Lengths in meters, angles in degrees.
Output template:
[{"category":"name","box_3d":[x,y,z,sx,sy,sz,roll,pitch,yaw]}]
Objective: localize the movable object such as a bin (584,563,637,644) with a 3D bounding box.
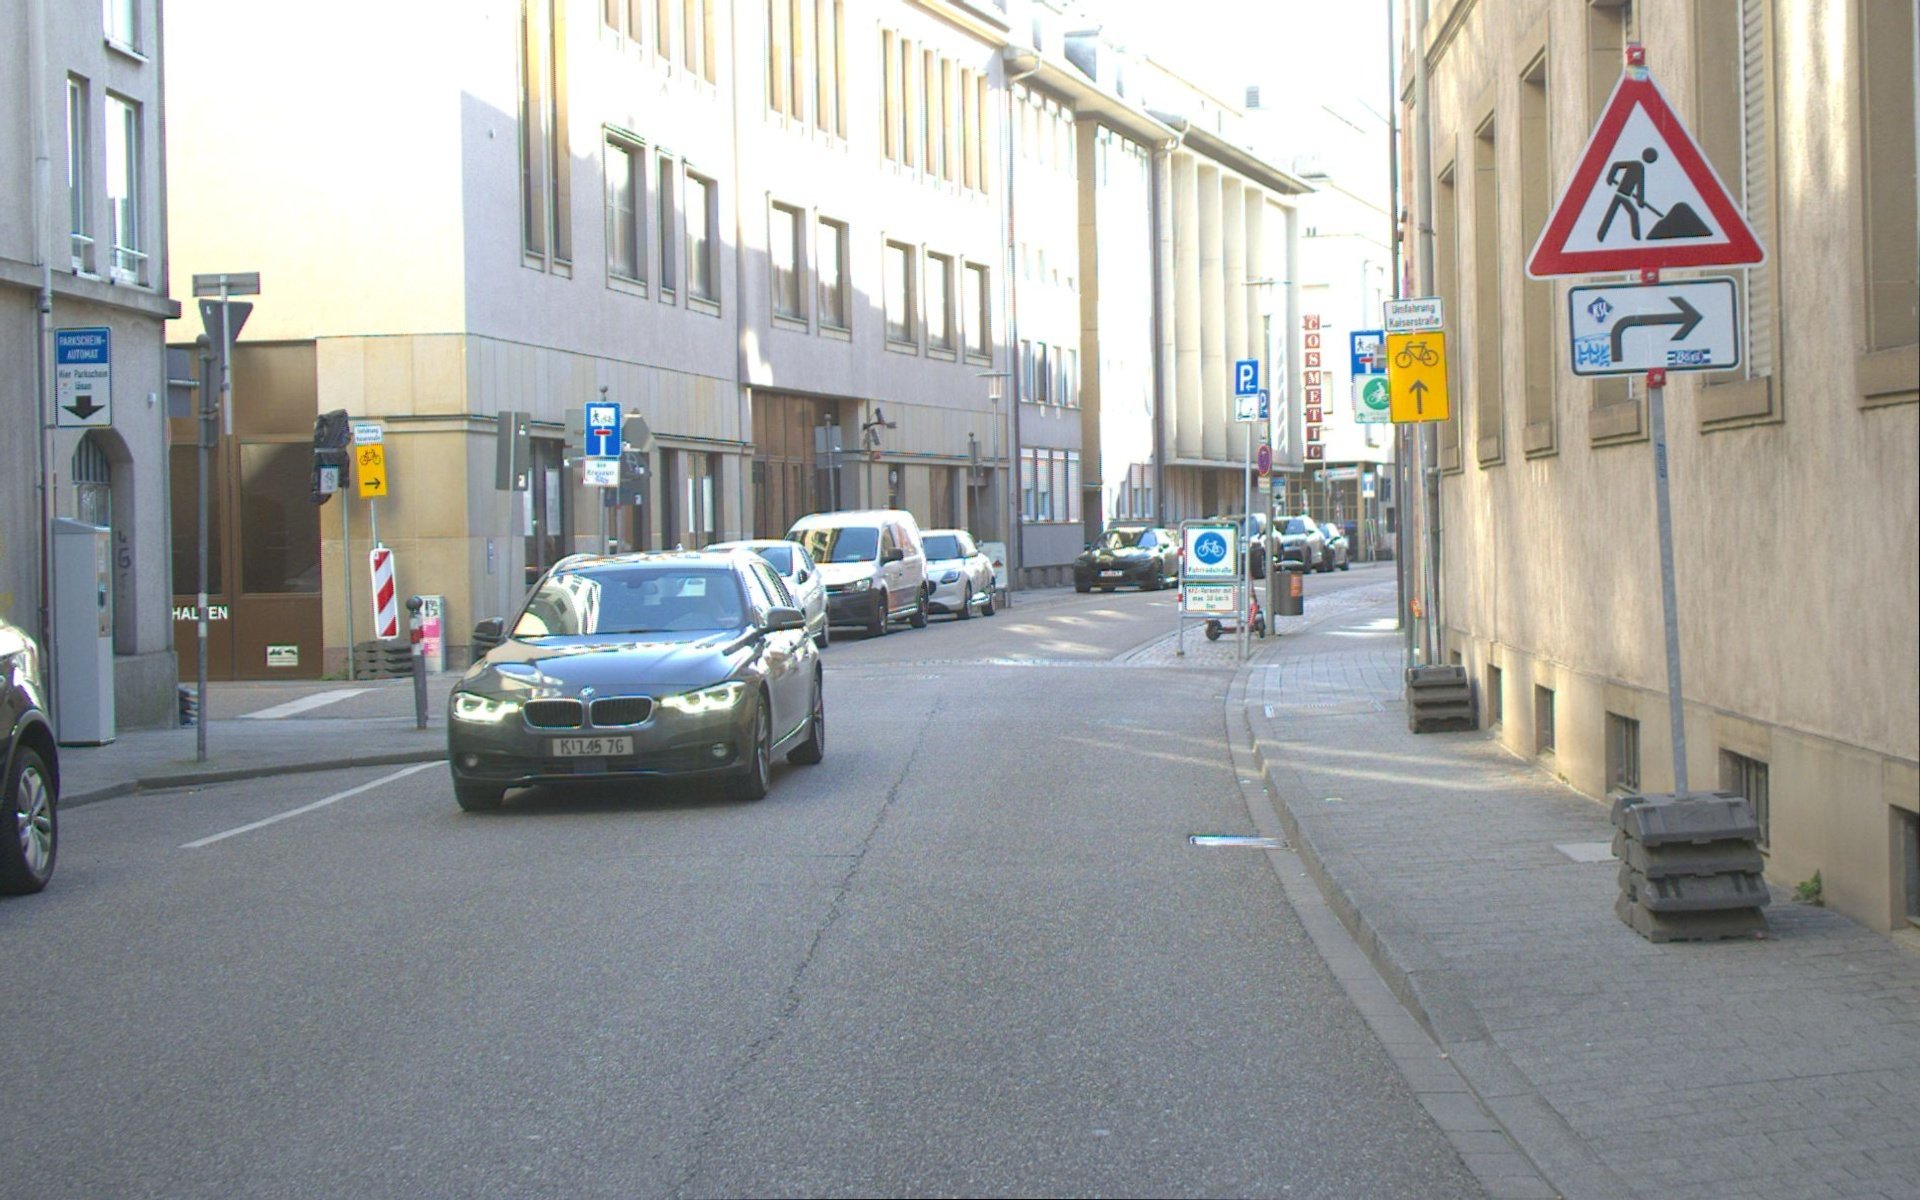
[{"category":"movable object such as a bin","box_3d":[-4.670,0.037,45.953,0.608,1.057,0.713,1,1,1]}]

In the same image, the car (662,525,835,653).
[{"category":"car","box_3d":[-2.700,-0.174,44.645,1.670,1.501,3.793,-3,1,4]}]

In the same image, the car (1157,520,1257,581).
[{"category":"car","box_3d":[5.980,-1.206,82.823,1.725,1.336,3.998,-1,1,14]}]

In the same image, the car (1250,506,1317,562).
[{"category":"car","box_3d":[9.041,-1.852,95.946,1.339,1.489,3.508,-1,1,14]}]

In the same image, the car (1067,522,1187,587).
[{"category":"car","box_3d":[3.757,-1.028,76.668,1.882,1.327,4.098,-1,1,14]}]

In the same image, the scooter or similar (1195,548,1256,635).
[{"category":"scooter or similar","box_3d":[3.517,-0.121,45.579,0.771,1.132,0.269,1,1,7]}]

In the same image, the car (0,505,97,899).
[{"category":"car","box_3d":[-5.093,0.516,14.173,1.740,1.705,4.190,-4,1,3]}]

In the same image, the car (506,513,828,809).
[{"category":"car","box_3d":[-1.826,0.291,20.877,1.714,1.572,4.191,-1,1,-6]}]

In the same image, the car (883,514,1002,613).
[{"category":"car","box_3d":[-0.259,-0.621,56.538,1.272,1.501,3.400,-3,1,10]}]

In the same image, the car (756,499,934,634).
[{"category":"car","box_3d":[-1.630,-0.527,50.440,1.671,1.812,4.550,-3,1,9]}]

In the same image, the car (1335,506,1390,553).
[{"category":"car","box_3d":[13.235,-2.334,112.963,1.339,1.489,3.345,-1,1,14]}]
